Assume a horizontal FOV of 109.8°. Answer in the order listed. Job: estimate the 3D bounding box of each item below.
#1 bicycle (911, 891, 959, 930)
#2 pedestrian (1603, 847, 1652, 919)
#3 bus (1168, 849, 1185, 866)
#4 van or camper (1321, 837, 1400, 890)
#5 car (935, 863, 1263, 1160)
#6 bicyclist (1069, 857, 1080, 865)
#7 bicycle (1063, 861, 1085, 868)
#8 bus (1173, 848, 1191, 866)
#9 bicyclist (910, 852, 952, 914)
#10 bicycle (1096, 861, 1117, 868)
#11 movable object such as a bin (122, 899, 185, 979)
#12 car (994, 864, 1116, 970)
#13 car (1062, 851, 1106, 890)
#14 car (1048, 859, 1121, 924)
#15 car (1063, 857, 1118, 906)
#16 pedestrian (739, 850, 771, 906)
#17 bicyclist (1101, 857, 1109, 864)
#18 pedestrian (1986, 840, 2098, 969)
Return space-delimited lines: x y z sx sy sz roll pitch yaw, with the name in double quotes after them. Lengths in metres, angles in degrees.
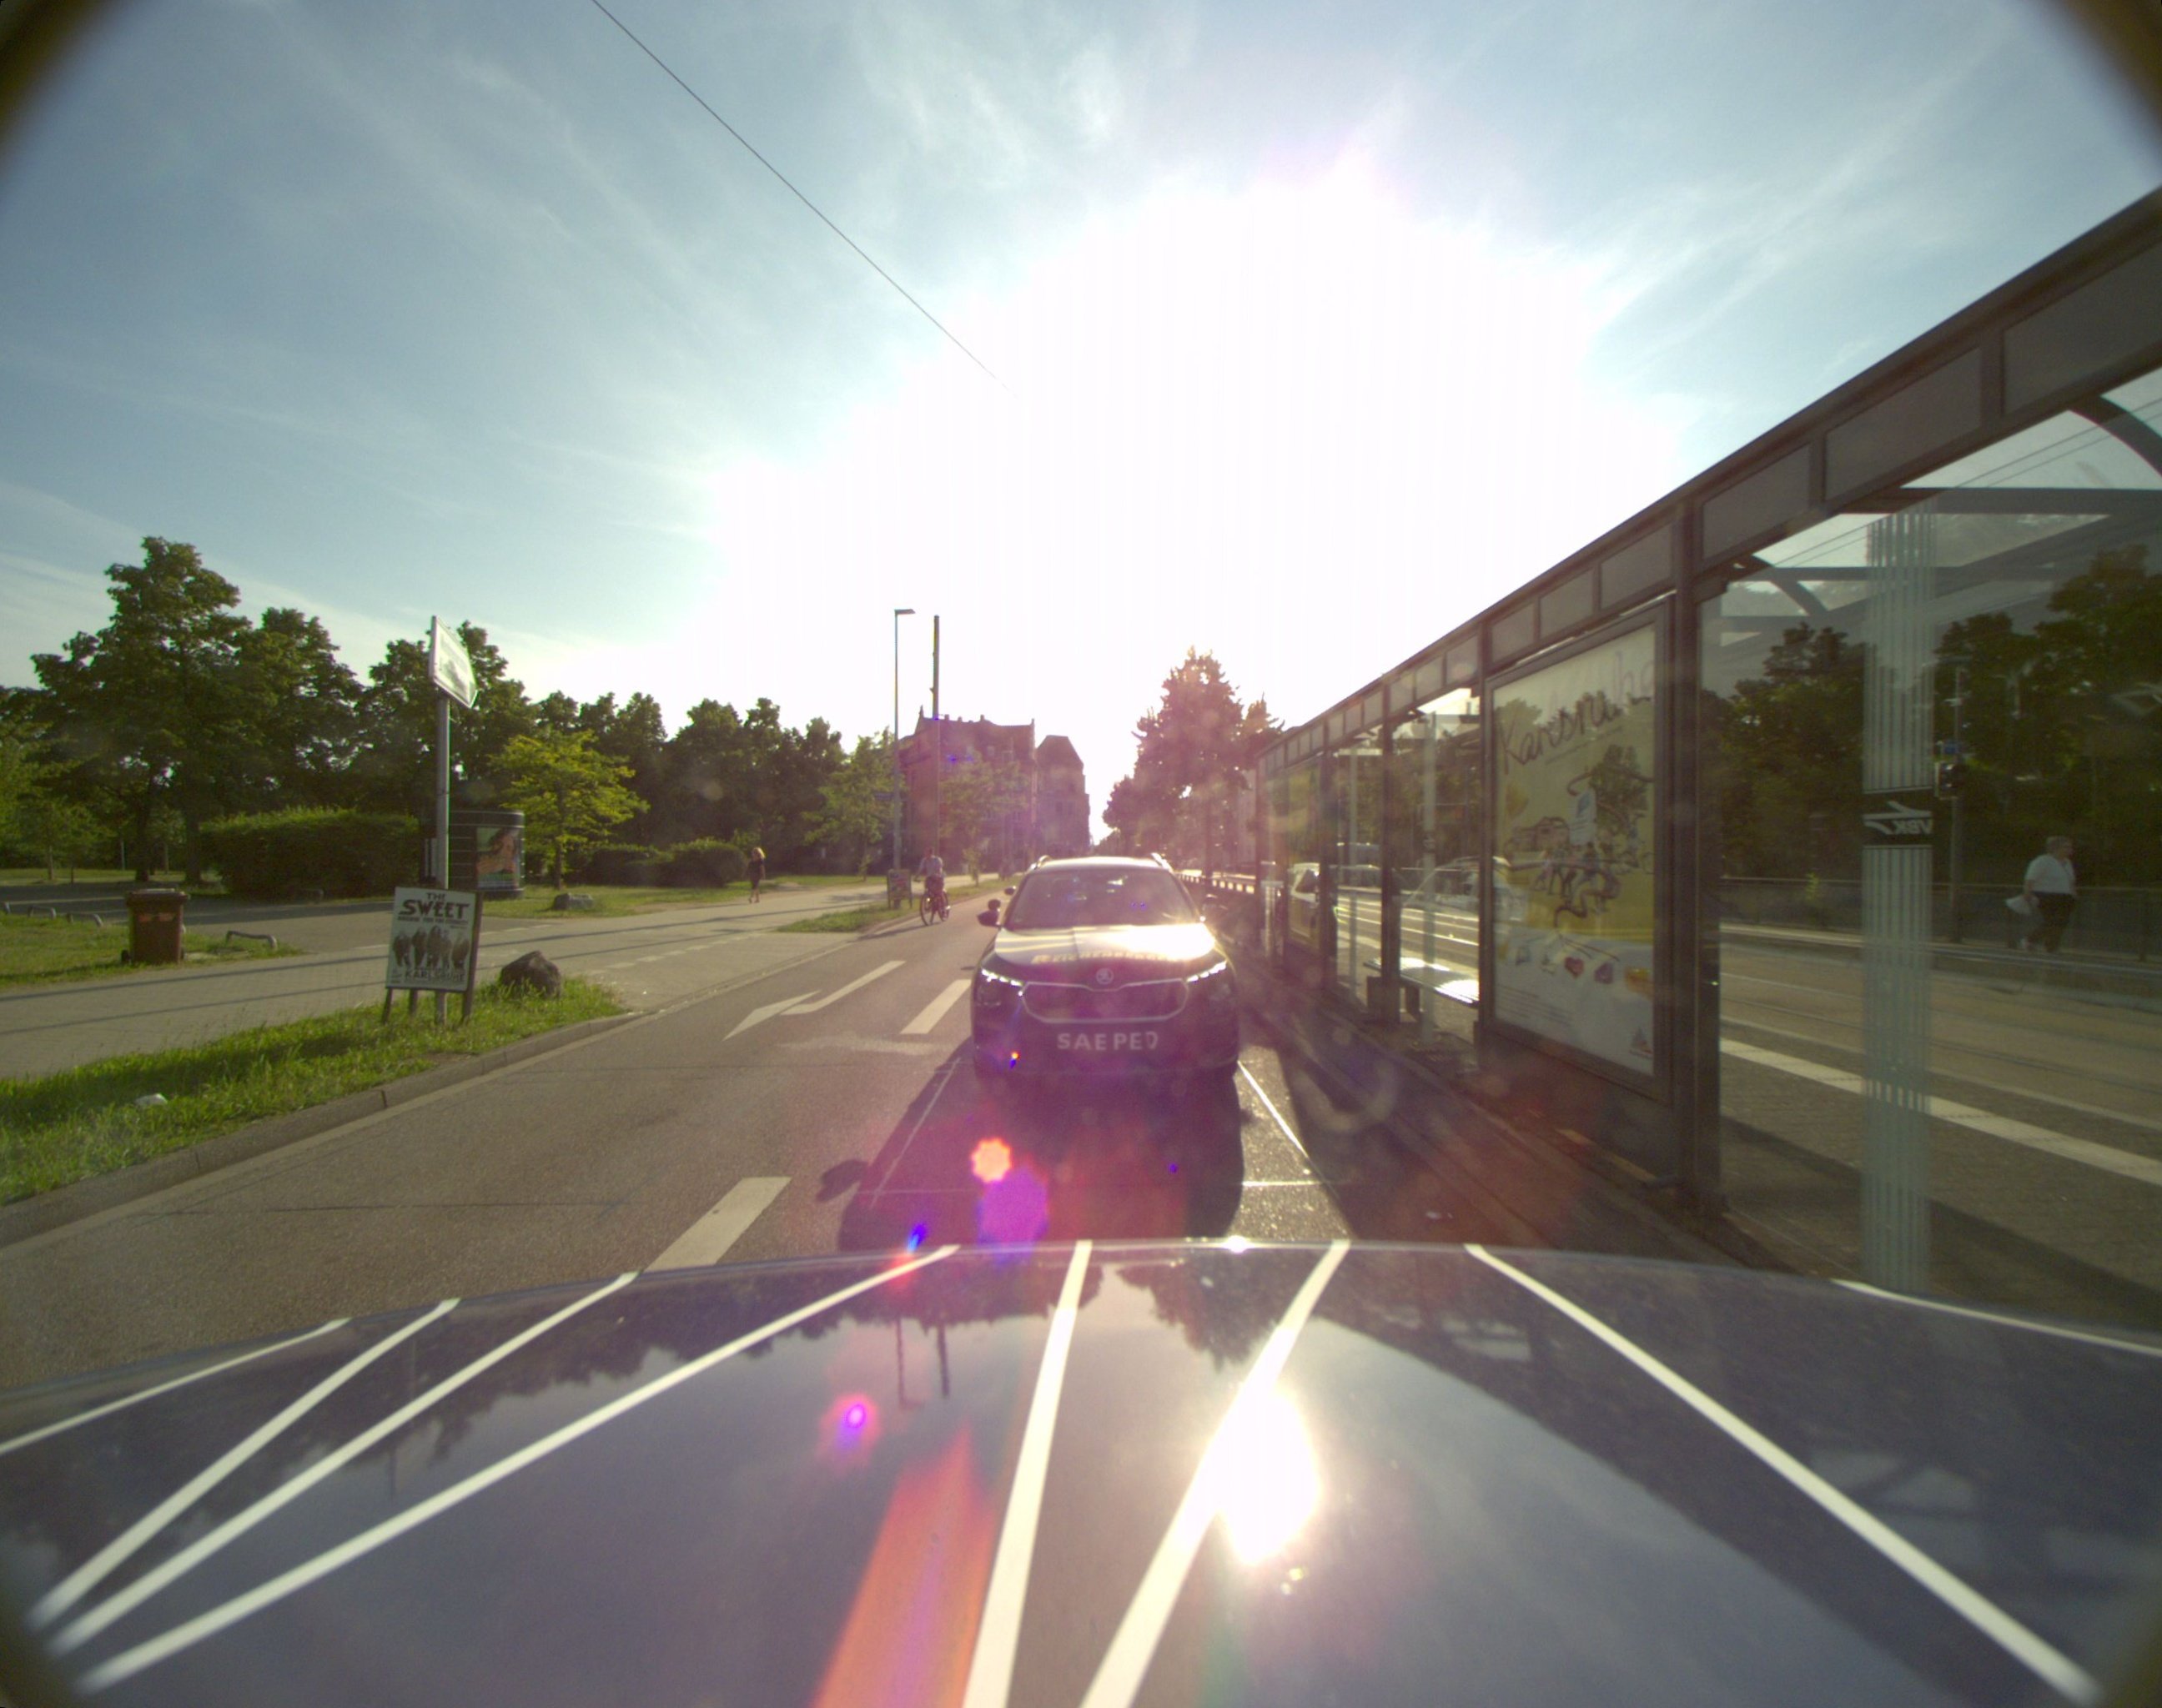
-3.484 1.335 18.260 0.567 0.789 2.042 0 0 6 "bicycle"
13.189 0.696 18.344 0.621 1.675 0.618 3 1 1 "pedestrian"
20.076 0.680 159.338 2.437 3.415 9.261 -2 1 1 "bus"
17.036 0.494 46.735 2.527 2.951 6.411 -2 1 1 "van or camper"
0.134 0.891 6.268 1.756 1.534 4.235 -1 0 1 "car"
-0.786 0.853 90.684 1.218 1.018 0.671 0 0 -9 "bicyclist"
-0.856 1.243 90.700 2.540 0.876 0.630 0 0 -9 "bicycle"
19.926 0.547 150.063 2.437 3.415 9.261 -2 1 1 "bus"
-3.574 0.671 18.208 0.688 1.445 1.111 0 0 6 "bicyclist"
3.086 1.308 92.351 2.541 0.876 0.630 0 0 -15 "bicycle"
-11.392 1.025 9.342 0.603 0.912 0.457 1 1 42 "movable object such as a bin"
-0.344 0.955 13.235 1.756 1.451 4.235 -1 0 1 "car"
0.169 0.683 32.974 1.756 1.534 4.235 -1 0 1 "car"
0.120 0.934 20.913 1.756 1.534 4.235 -1 0 1 "car"
0.337 0.909 26.798 1.756 1.534 4.235 -1 0 1 "car"
-9.829 0.718 22.932 0.621 1.675 0.618 -2 1 1 "pedestrian"
2.905 0.787 92.295 0.898 0.908 0.615 0 0 -15 "bicyclist"
13.049 0.671 10.338 0.621 1.675 0.618 3 1 1 "pedestrian"
